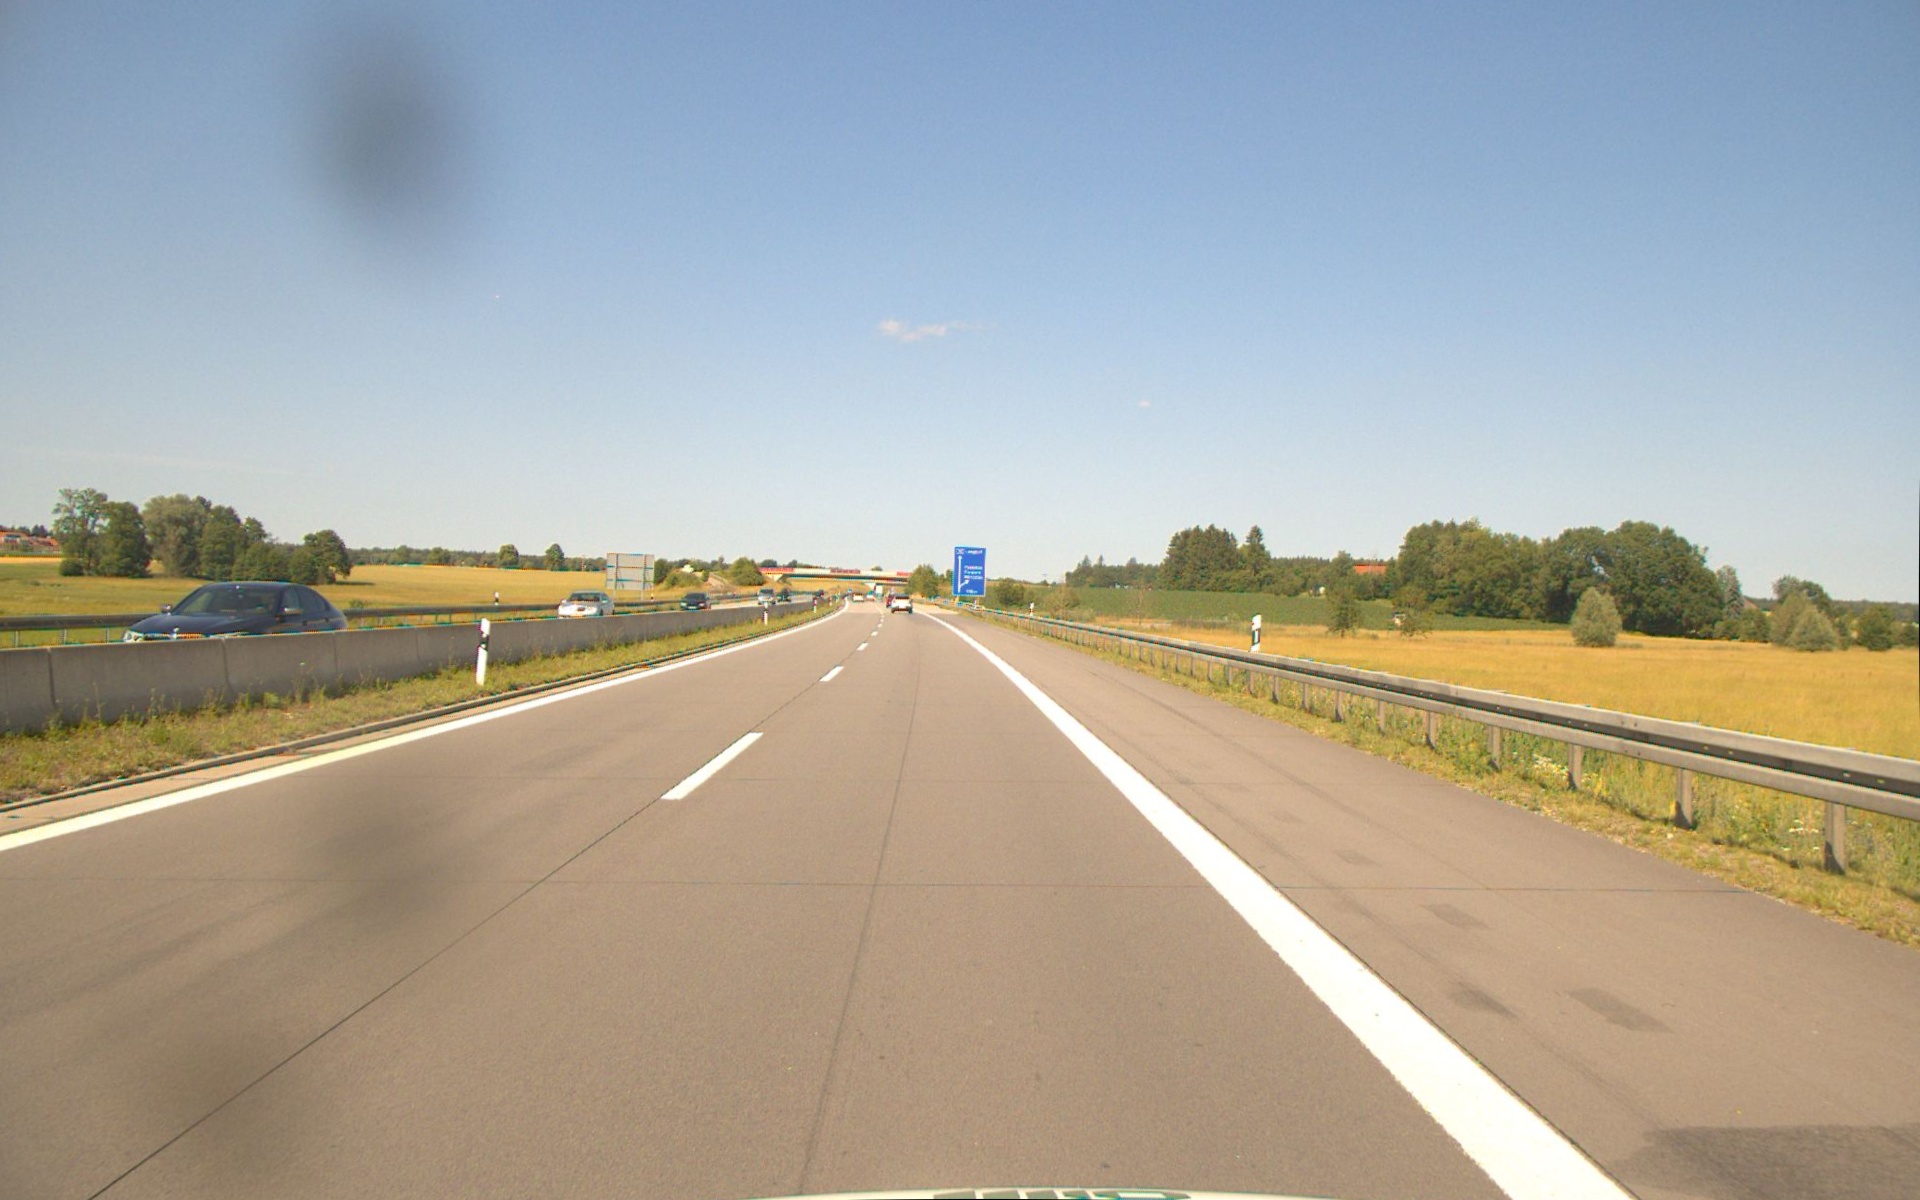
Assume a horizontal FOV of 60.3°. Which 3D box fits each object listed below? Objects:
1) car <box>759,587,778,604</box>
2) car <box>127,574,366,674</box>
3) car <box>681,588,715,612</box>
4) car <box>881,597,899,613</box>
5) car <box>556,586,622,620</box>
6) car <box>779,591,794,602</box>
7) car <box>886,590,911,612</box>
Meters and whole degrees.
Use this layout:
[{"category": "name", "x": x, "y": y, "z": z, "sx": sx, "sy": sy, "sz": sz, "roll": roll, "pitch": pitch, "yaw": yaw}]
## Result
[{"category": "car", "x": -22.280, "y": -0.515, "z": 192.580, "sx": 1.915, "sy": 1.874, "sz": 5.446, "roll": 0, "pitch": 0, "yaw": -3}, {"category": "car", "x": -10.798, "y": 0.315, "z": 25.415, "sx": 1.786, "sy": 1.388, "sz": 4.658, "roll": 0, "pitch": 0, "yaw": -2}, {"category": "car", "x": -17.866, "y": -0.030, "z": 112.867, "sx": 1.821, "sy": 1.612, "sz": 4.911, "roll": 0, "pitch": 0, "yaw": -3}, {"category": "car", "x": -8.207, "y": 0.605, "z": 193.502, "sx": 1.954, "sy": 1.761, "sz": 4.866, "roll": 2, "pitch": 0, "yaw": -3}, {"category": "car", "x": -15.851, "y": 0.109, "z": 70.901, "sx": 1.786, "sy": 1.388, "sz": 5.293, "roll": 0, "pitch": 0, "yaw": -2}, {"category": "car", "x": -24.709, "y": -0.530, "z": 235.035, "sx": 1.860, "sy": 1.550, "sz": 4.803, "roll": 0, "pitch": 0, "yaw": -3}, {"category": "car", "x": -5.354, "y": 0.086, "z": 143.096, "sx": 1.954, "sy": 1.761, "sz": 4.864, "roll": 2, "pitch": 0, "yaw": -5}]
